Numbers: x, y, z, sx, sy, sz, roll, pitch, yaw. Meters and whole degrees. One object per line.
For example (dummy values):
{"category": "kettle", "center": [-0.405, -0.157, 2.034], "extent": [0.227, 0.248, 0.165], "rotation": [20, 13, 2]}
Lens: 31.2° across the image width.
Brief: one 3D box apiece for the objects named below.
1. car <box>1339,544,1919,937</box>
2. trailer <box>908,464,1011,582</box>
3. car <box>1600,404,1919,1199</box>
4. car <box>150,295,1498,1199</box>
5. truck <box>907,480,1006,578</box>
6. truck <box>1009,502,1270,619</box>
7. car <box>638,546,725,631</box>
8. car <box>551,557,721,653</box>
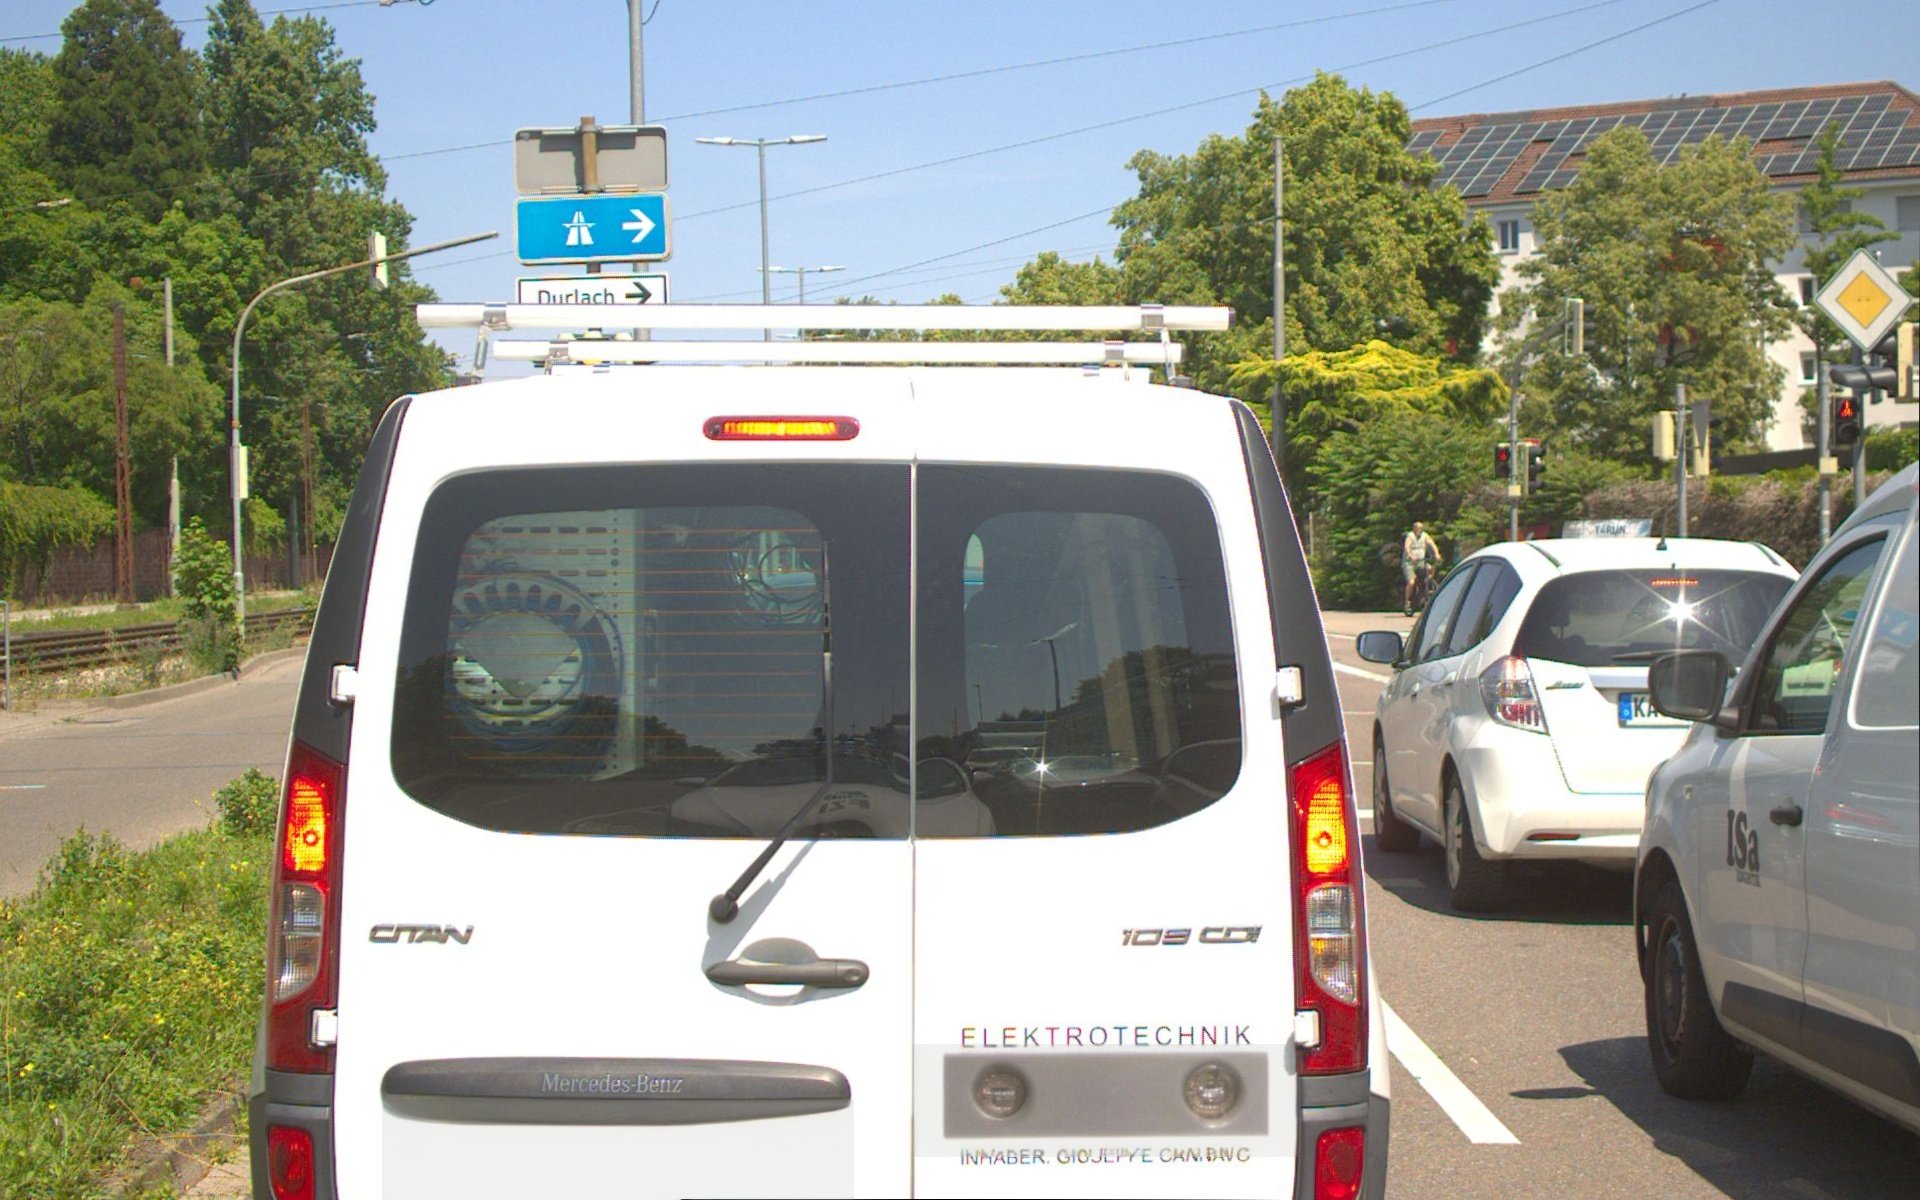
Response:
{"category": "car", "center": [2.802, 0.506, 15.184], "extent": [1.756, 1.481, 4.000], "rotation": [1, 1, -1]}
{"category": "trailer", "center": [-0.047, -2.758, 123.932], "extent": [3.527, 4.037, 8.978], "rotation": [-1, 1, 0]}
{"category": "car", "center": [2.740, 0.501, 7.770], "extent": [1.710, 1.824, 4.014], "rotation": [0, 1, -2]}
{"category": "car", "center": [-0.228, 0.468, 6.727], "extent": [1.866, 1.829, 3.849], "rotation": [1, 1, -1]}
{"category": "truck", "center": [-0.191, -2.734, 132.846], "extent": [3.576, 3.620, 8.809], "rotation": [-1, 1, -1]}
{"category": "truck", "center": [3.190, -0.737, 63.039], "extent": [2.298, 2.007, 6.729], "rotation": [-1, 1, -20]}
{"category": "car", "center": [-6.812, -0.302, 84.448], "extent": [1.993, 2.007, 4.001], "rotation": [-1, 1, -3]}
{"category": "car", "center": [-4.960, 0.051, 52.231], "extent": [1.691, 1.307, 3.886], "rotation": [1, 1, -19]}
